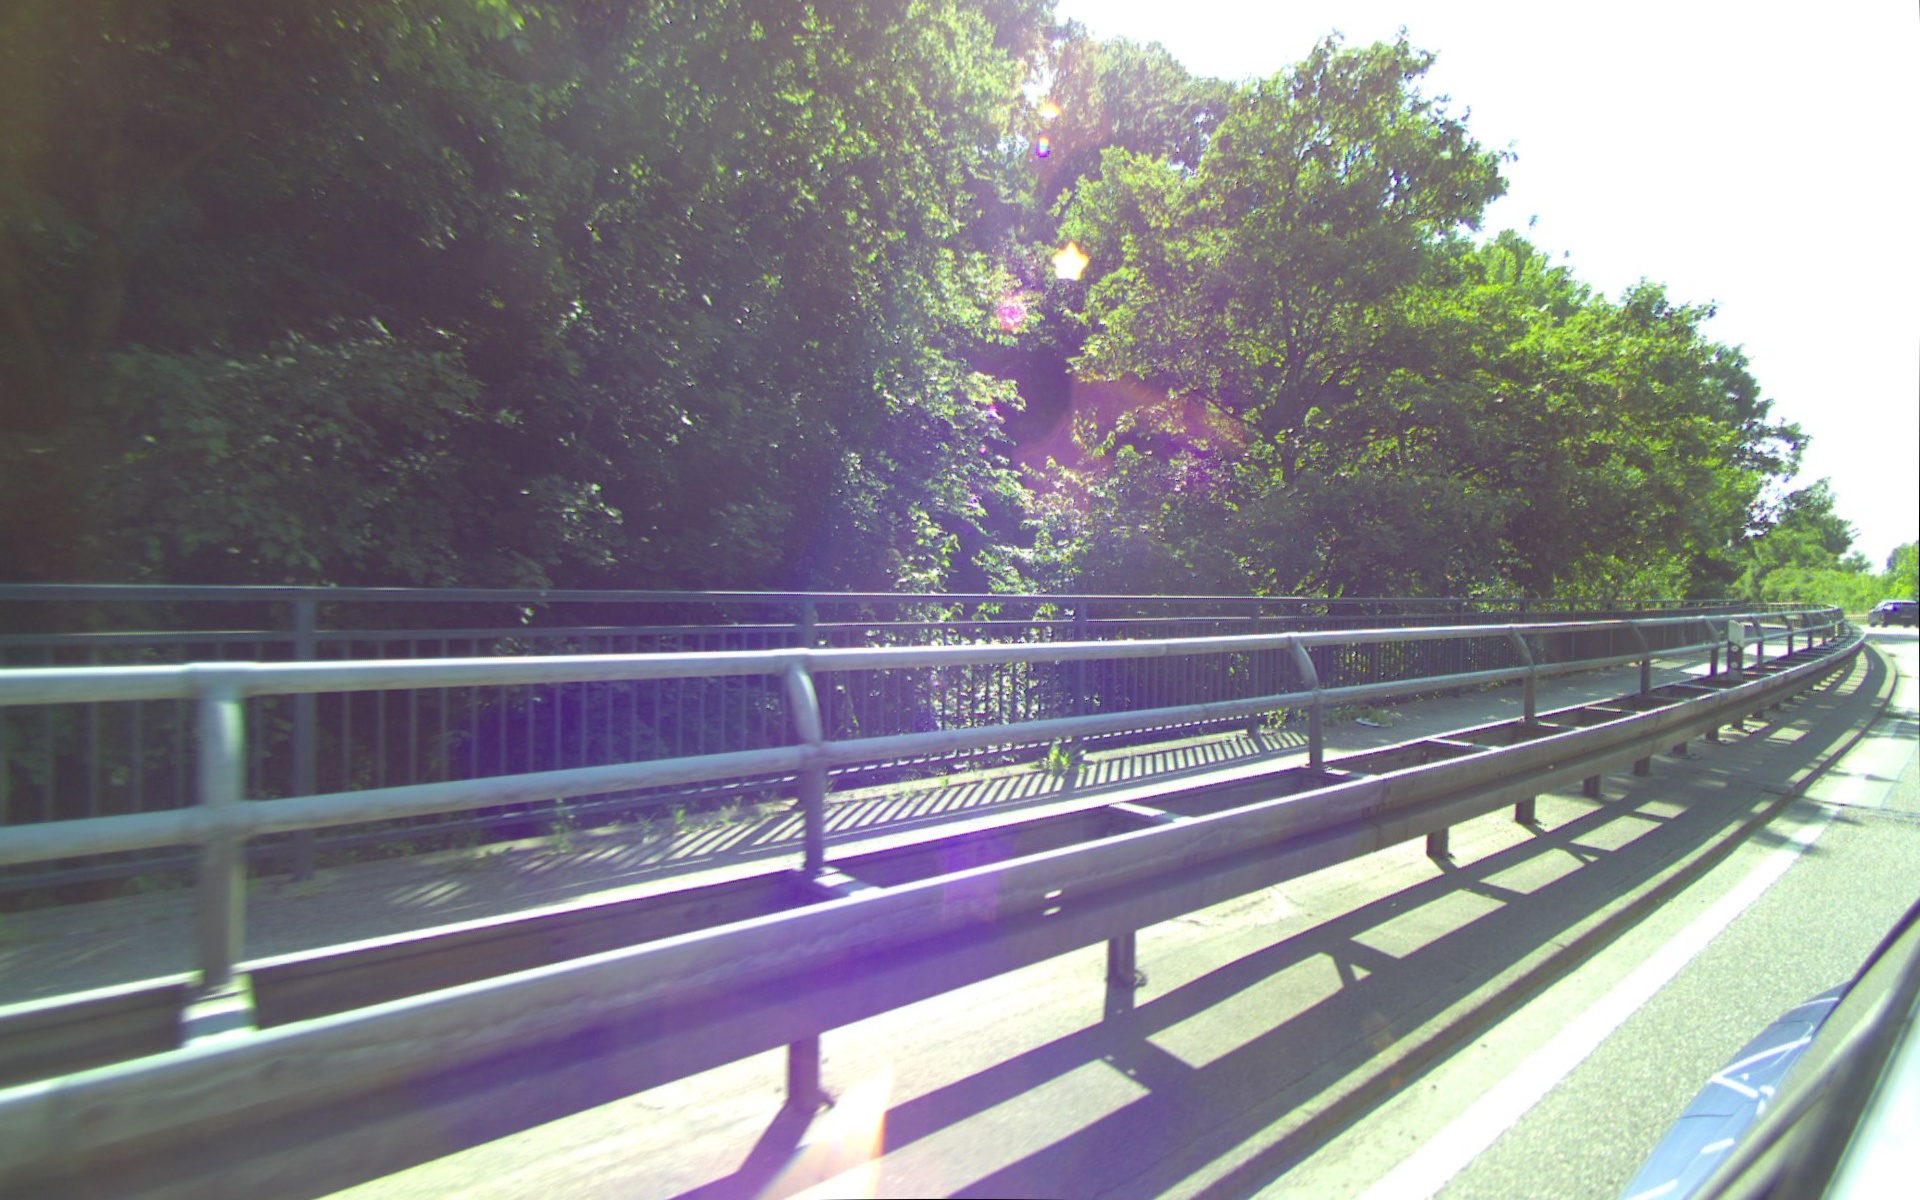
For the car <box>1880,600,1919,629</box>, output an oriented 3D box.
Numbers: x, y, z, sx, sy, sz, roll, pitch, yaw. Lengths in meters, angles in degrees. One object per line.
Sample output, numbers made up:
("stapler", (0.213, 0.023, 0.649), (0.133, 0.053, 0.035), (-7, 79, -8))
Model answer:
("car", (55.408, 0.827, 59.111), (1.892, 1.601, 4.498), (0, 0, 35))
